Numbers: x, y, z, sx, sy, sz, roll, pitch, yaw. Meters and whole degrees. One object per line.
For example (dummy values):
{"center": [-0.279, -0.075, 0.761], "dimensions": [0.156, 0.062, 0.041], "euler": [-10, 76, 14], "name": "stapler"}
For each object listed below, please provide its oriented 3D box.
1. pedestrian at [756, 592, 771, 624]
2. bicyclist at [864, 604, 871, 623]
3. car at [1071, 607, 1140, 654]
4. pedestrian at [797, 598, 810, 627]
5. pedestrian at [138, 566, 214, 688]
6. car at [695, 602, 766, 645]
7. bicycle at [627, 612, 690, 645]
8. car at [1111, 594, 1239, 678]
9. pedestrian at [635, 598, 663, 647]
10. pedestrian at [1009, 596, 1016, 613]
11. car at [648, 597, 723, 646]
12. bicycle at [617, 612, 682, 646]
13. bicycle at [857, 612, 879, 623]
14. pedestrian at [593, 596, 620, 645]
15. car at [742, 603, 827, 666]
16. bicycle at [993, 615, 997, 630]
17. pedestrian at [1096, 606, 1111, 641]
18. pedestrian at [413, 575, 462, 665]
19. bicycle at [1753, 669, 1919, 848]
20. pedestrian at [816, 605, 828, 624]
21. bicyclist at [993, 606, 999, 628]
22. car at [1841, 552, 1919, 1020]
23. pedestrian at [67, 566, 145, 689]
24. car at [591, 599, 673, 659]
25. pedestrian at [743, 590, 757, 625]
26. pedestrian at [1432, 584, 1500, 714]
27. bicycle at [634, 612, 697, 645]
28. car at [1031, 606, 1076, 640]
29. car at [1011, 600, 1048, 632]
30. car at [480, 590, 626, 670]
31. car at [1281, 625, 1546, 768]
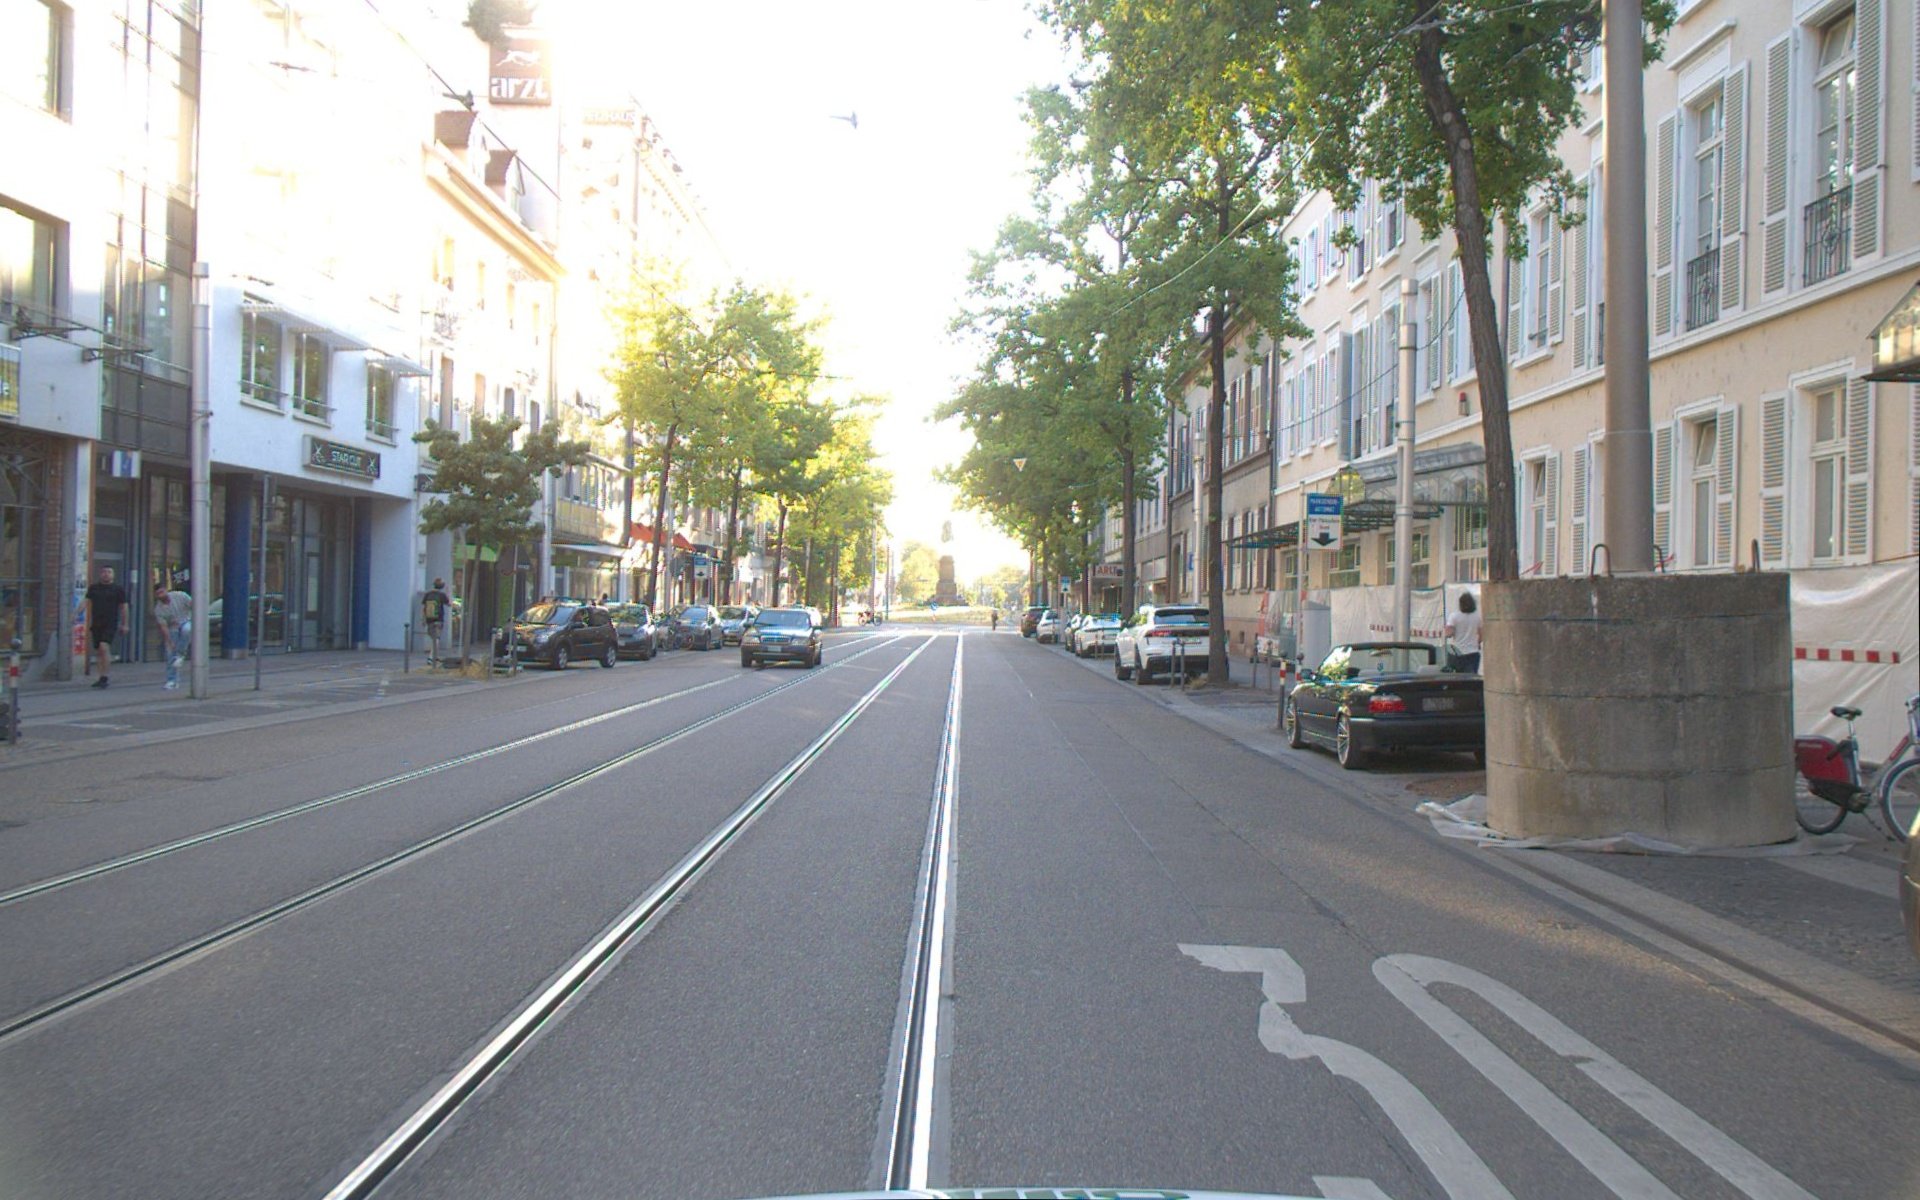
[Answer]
{"center": [-11.483, 0.465, 96.641], "dimensions": [0.707, 1.791, 1.090], "euler": [1, 0, 0], "name": "pedestrian"}
{"center": [-7.259, 1.033, 130.180], "dimensions": [0.525, 1.463, 0.367], "euler": [1, 0, 2], "name": "bicyclist"}
{"center": [4.810, 0.970, 55.306], "dimensions": [1.873, 1.445, 4.888], "euler": [-1, 0, 0], "name": "car"}
{"center": [-8.517, 0.667, 89.854], "dimensions": [0.607, 1.536, 0.729], "euler": [1, -1, 1], "name": "pedestrian"}
{"center": [-11.585, 0.392, 24.464], "dimensions": [0.628, 1.743, 0.829], "euler": [2, 0, 4], "name": "pedestrian"}
{"center": [-8.578, 0.869, 62.132], "dimensions": [1.730, 1.523, 4.177], "euler": [1, -1, 5], "name": "car"}
{"center": [-9.635, 0.903, 52.803], "dimensions": [1.930, 1.019, 0.330], "euler": [1, -1, 2], "name": "bicycle"}
{"center": [4.719, 0.790, 37.094], "dimensions": [1.958, 1.717, 4.964], "euler": [-1, -1, -3], "name": "car"}
{"center": [-11.103, 0.788, 59.088], "dimensions": [0.826, 1.723, 0.740], "euler": [1, 0, -1], "name": "pedestrian"}
{"center": [5.060, 0.419, 159.318], "dimensions": [0.623, 1.634, 0.771], "euler": [1, 0, -2], "name": "pedestrian"}
{"center": [-9.072, 0.703, 54.990], "dimensions": [1.676, 1.486, 4.486], "euler": [3, 0, 0], "name": "car"}
{"center": [-9.519, 0.883, 50.724], "dimensions": [1.929, 1.019, 0.331], "euler": [1, -1, 2], "name": "bicycle"}
{"center": [-7.228, 1.386, 130.499], "dimensions": [1.695, 0.880, 0.367], "euler": [1, 0, 2], "name": "bicycle"}
{"center": [-12.534, 0.710, 58.667], "dimensions": [0.773, 1.723, 0.913], "euler": [1, 0, -1], "name": "pedestrian"}
{"center": [-4.233, 0.796, 40.415], "dimensions": [1.743, 1.432, 4.526], "euler": [1, 0, -2], "name": "car"}
{"center": [2.481, 1.598, 116.919], "dimensions": [0.259, 1.000, 1.338], "euler": [1, 0, 0], "name": "bicycle"}
{"center": [7.117, 1.169, 82.037], "dimensions": [0.630, 1.699, 0.786], "euler": [-2, 0, 0], "name": "pedestrian"}
{"center": [-11.255, 0.426, 35.647], "dimensions": [0.646, 1.857, 0.878], "euler": [4, 0, 0], "name": "pedestrian"}
{"center": [6.400, 1.071, 11.463], "dimensions": [0.643, 1.089, 1.665], "euler": [-1, 1, -19], "name": "bicycle"}
{"center": [-9.669, 1.039, 115.867], "dimensions": [0.713, 1.313, 0.856], "euler": [2, 0, -3], "name": "pedestrian"}
{"center": [2.535, 1.199, 116.908], "dimensions": [0.419, 1.507, 0.466], "euler": [1, 0, 0], "name": "bicyclist"}
{"center": [4.595, 0.699, 4.815], "dimensions": [1.911, 1.824, 4.317], "euler": [-1, 0, 3], "name": "car"}
{"center": [-12.479, 0.391, 24.193], "dimensions": [0.614, 1.743, 0.808], "euler": [2, 0, 4], "name": "pedestrian"}
{"center": [-9.046, 0.778, 45.893], "dimensions": [1.757, 1.516, 4.237], "euler": [3, 0, -6], "name": "car"}
{"center": [-12.248, 0.455, 96.645], "dimensions": [0.707, 2.049, 0.643], "euler": [1, 0, 0], "name": "pedestrian"}
{"center": [7.607, 0.726, 24.903], "dimensions": [0.698, 1.920, 1.053], "euler": [0, 0, 0], "name": "pedestrian"}
{"center": [-9.340, 0.908, 52.417], "dimensions": [1.929, 1.019, 0.331], "euler": [1, -1, 2], "name": "bicycle"}
{"center": [4.573, 1.116, 81.206], "dimensions": [1.952, 1.524, 4.680], "euler": [-2, 0, 1], "name": "car"}
{"center": [4.137, 0.969, 99.015], "dimensions": [1.898, 1.790, 4.679], "euler": [-3, 0, 0], "name": "car"}
{"center": [-9.183, 0.654, 37.615], "dimensions": [1.596, 1.644, 3.711], "euler": [3, 0, 15], "name": "car"}
{"center": [4.867, 0.980, 18.393], "dimensions": [1.757, 1.334, 4.329], "euler": [-1, 0, 0], "name": "car"}
